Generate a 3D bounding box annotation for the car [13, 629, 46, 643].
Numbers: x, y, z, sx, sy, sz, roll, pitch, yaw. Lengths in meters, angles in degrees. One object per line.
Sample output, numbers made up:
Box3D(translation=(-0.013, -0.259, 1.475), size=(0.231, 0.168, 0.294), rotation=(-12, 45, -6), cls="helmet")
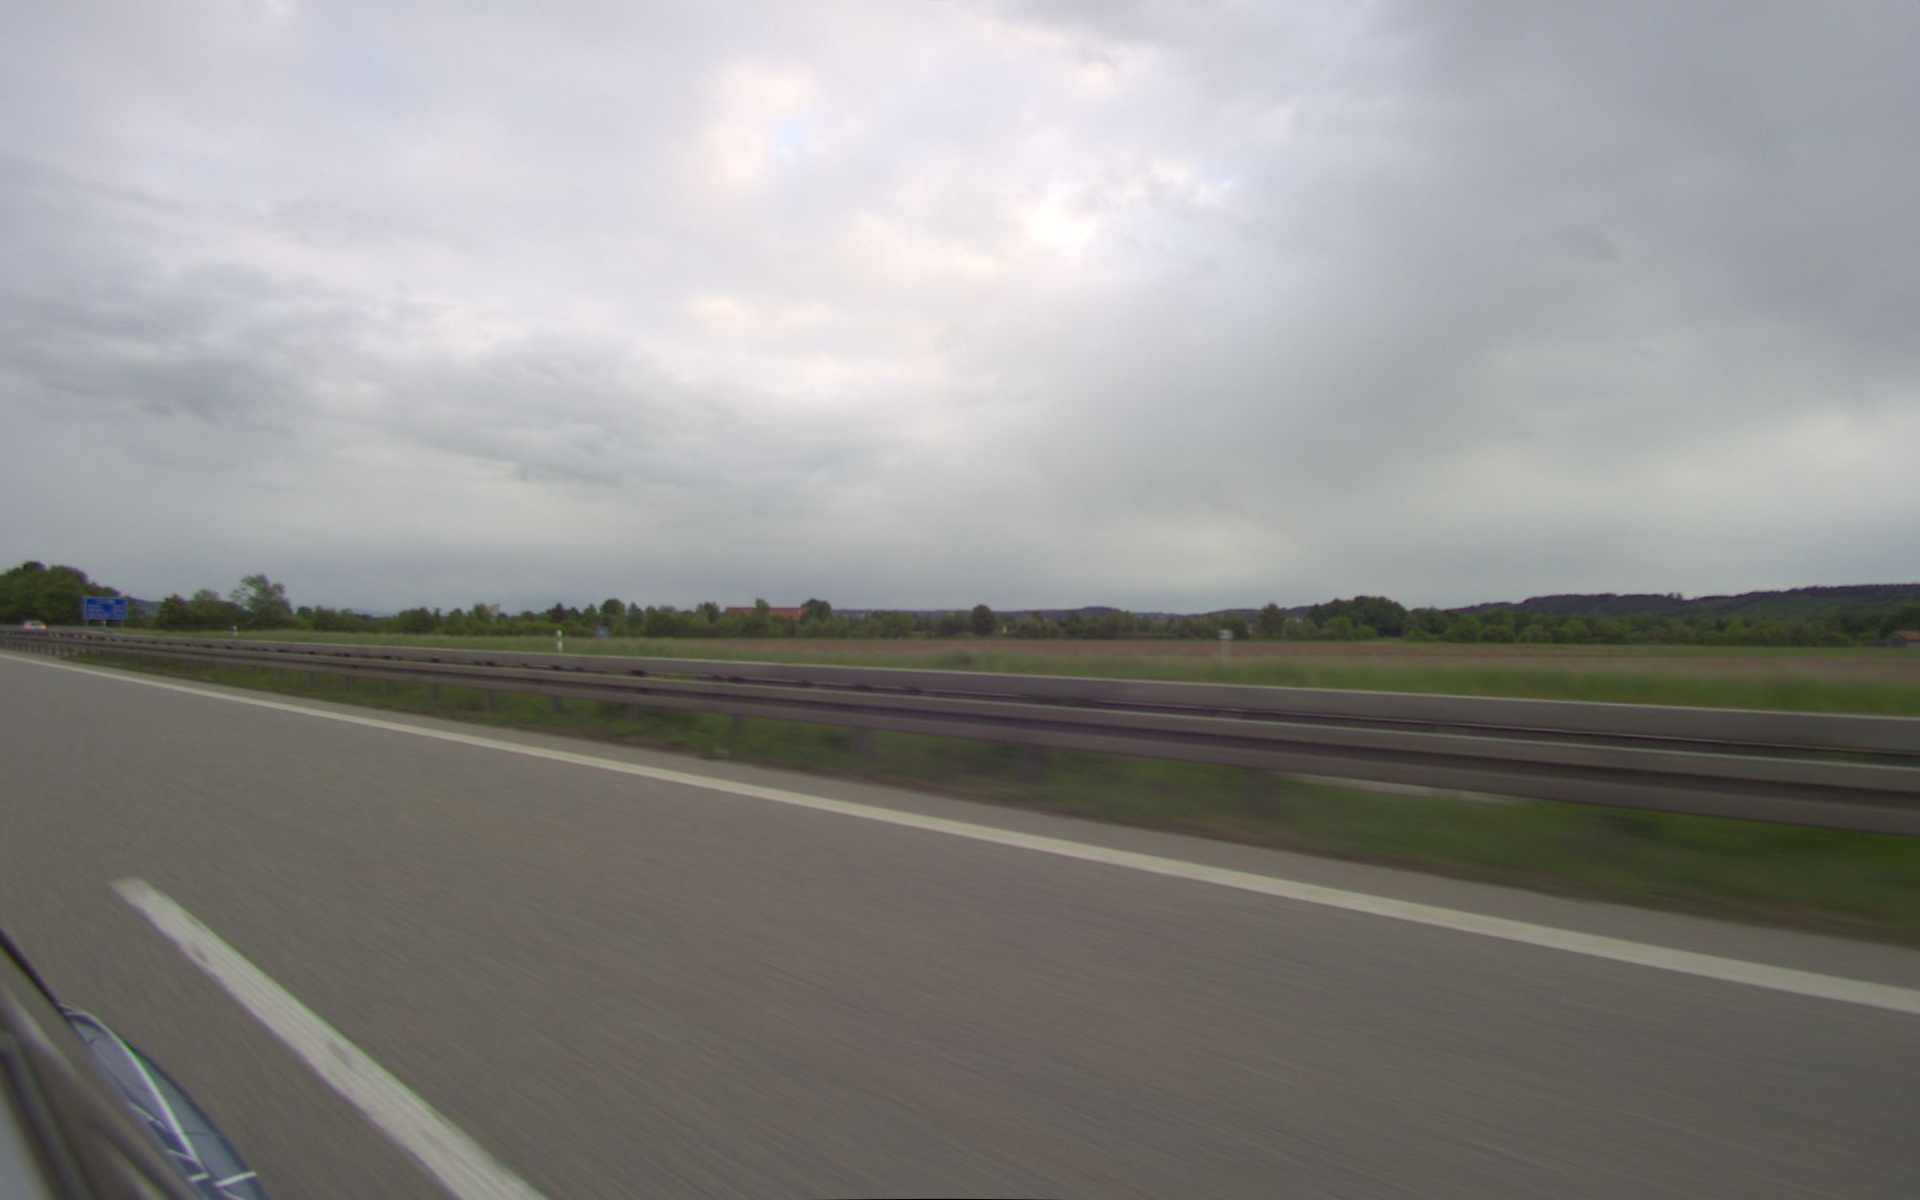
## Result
Box3D(translation=(-100.395, 3.845, 109.188), size=(4.758, 1.507, 1.973), rotation=(-1, -2, 40), cls="car")
